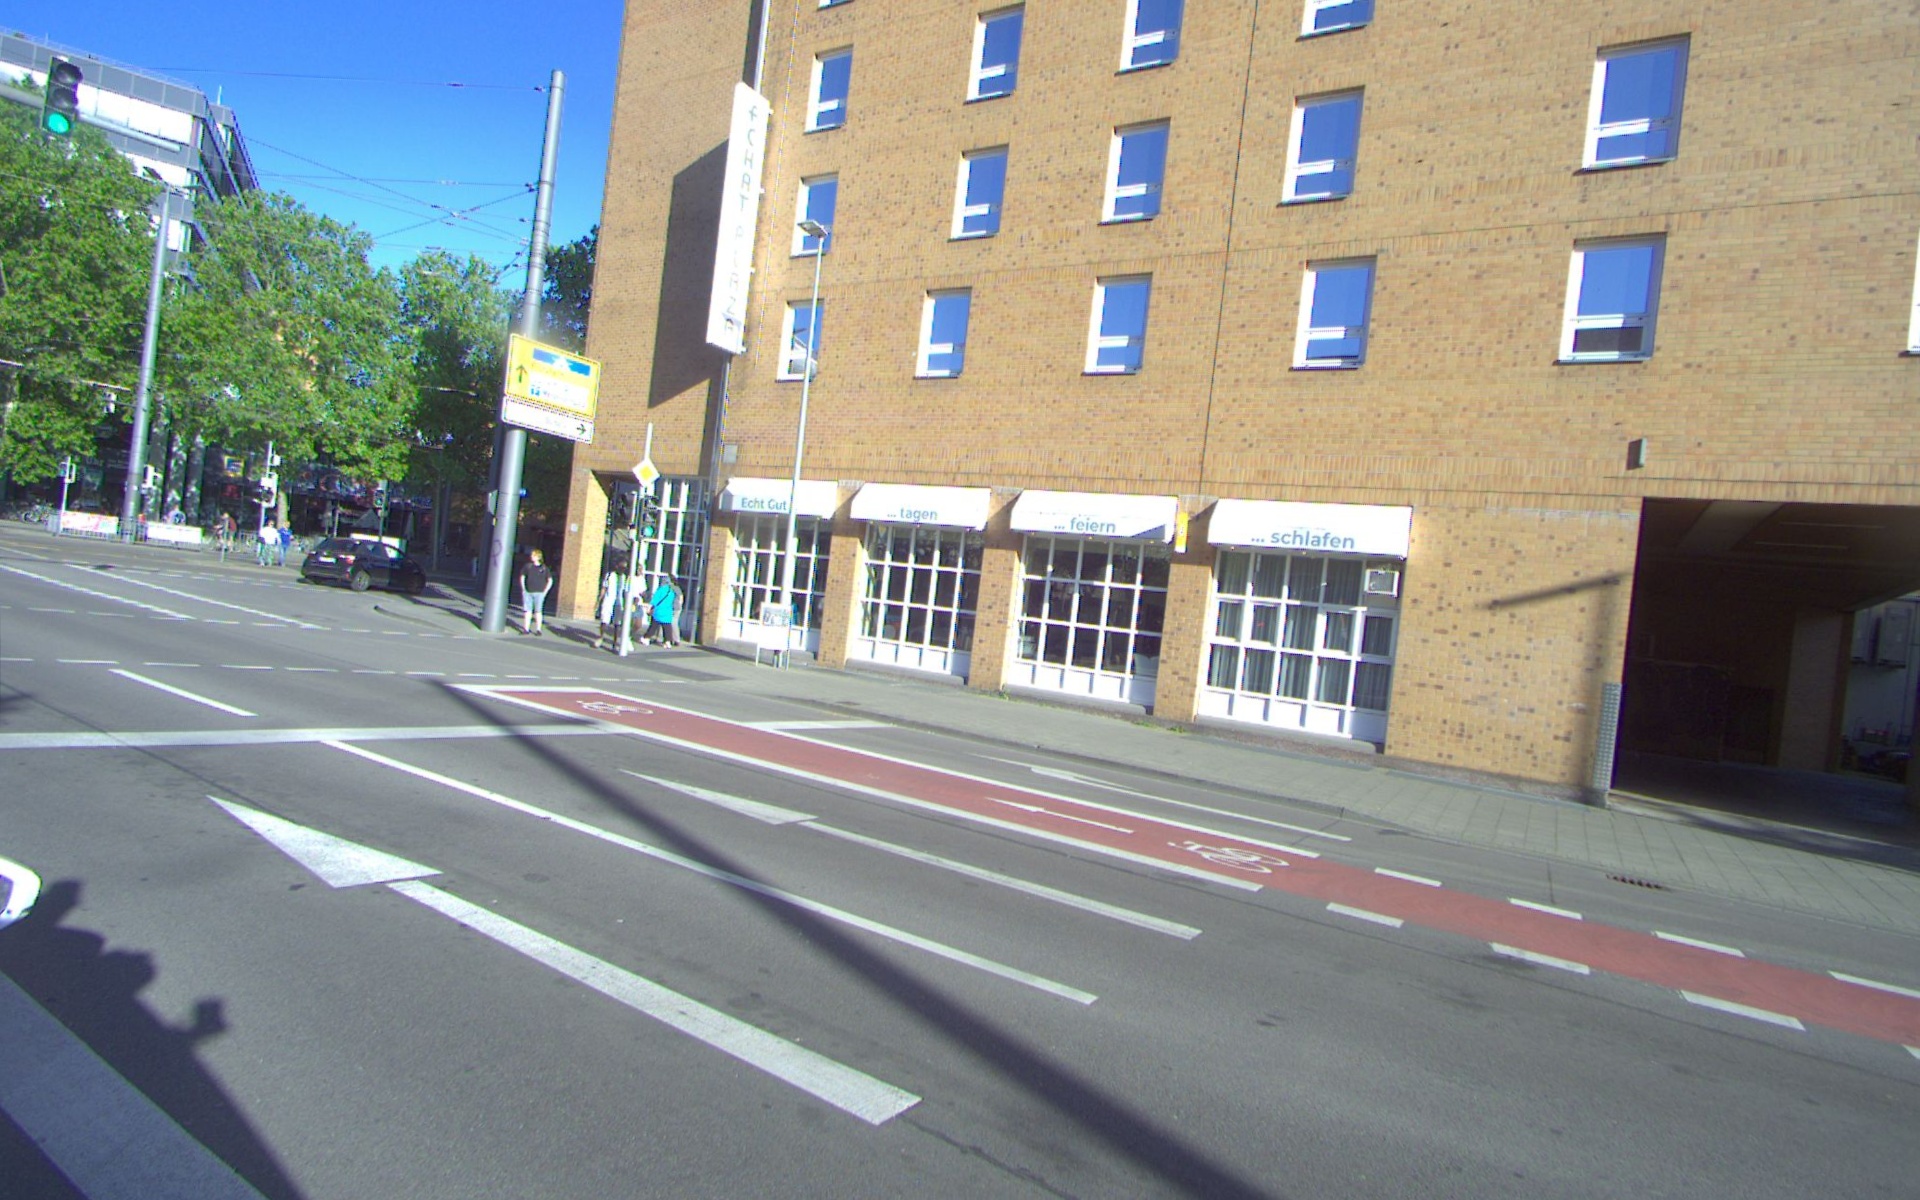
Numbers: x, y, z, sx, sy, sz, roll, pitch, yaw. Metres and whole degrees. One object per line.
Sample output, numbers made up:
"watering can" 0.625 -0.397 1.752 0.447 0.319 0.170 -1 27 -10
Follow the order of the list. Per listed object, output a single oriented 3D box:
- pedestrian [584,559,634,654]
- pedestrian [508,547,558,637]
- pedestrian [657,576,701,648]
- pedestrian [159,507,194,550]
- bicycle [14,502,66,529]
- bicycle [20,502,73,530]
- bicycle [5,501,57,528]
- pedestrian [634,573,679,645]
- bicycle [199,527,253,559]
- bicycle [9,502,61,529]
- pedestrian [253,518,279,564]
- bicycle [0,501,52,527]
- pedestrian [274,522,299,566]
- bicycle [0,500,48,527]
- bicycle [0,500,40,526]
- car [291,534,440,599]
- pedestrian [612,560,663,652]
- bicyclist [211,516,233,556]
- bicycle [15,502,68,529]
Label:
"pedestrian" -6.958 0.127 19.935 0.589 1.804 0.673 3 4 -42
"pedestrian" -9.029 -0.162 21.305 0.726 1.813 0.510 7 -1 -19
"pedestrian" -6.167 0.273 22.089 0.543 1.495 0.593 6 0 32
"pedestrian" -34.138 -3.098 43.857 0.747 1.724 0.834 6 -1 32
"bicycle" -47.305 -4.330 51.744 0.354 1.058 1.884 6 -2 31
"bicycle" -46.065 -4.238 50.762 0.354 1.058 1.884 6 -2 31
"bicycle" -48.306 -4.422 52.341 0.354 1.058 1.884 6 -2 31
"pedestrian" -6.480 0.193 21.471 0.591 1.472 0.592 6 3 32
"bicycle" -36.255 -2.808 49.715 0.414 1.228 2.046 6 -2 32
"bicycle" -47.796 -4.371 51.989 0.354 1.058 1.884 7 -2 31
"pedestrian" -24.681 -2.107 35.782 0.563 1.550 0.695 8 -2 -38
"bicycle" -48.746 -4.483 52.530 0.354 1.058 1.885 7 -2 31
"pedestrian" -24.326 -2.014 36.337 0.563 1.496 0.695 8 -2 -37
"bicycle" -49.170 -4.533 52.775 0.354 1.058 1.885 7 -2 31
"bicycle" -50.131 -4.641 53.362 0.354 1.058 1.885 7 -2 31
"car" -17.967 -0.956 30.639 1.704 1.466 4.045 8 -2 6
"pedestrian" -6.562 0.123 20.482 0.673 1.802 0.591 6 1 43
"bicyclist" -36.335 -3.141 49.537 0.396 1.859 0.585 6 -1 31
"bicycle" -46.710 -4.291 51.179 0.354 1.058 1.884 6 -2 31
